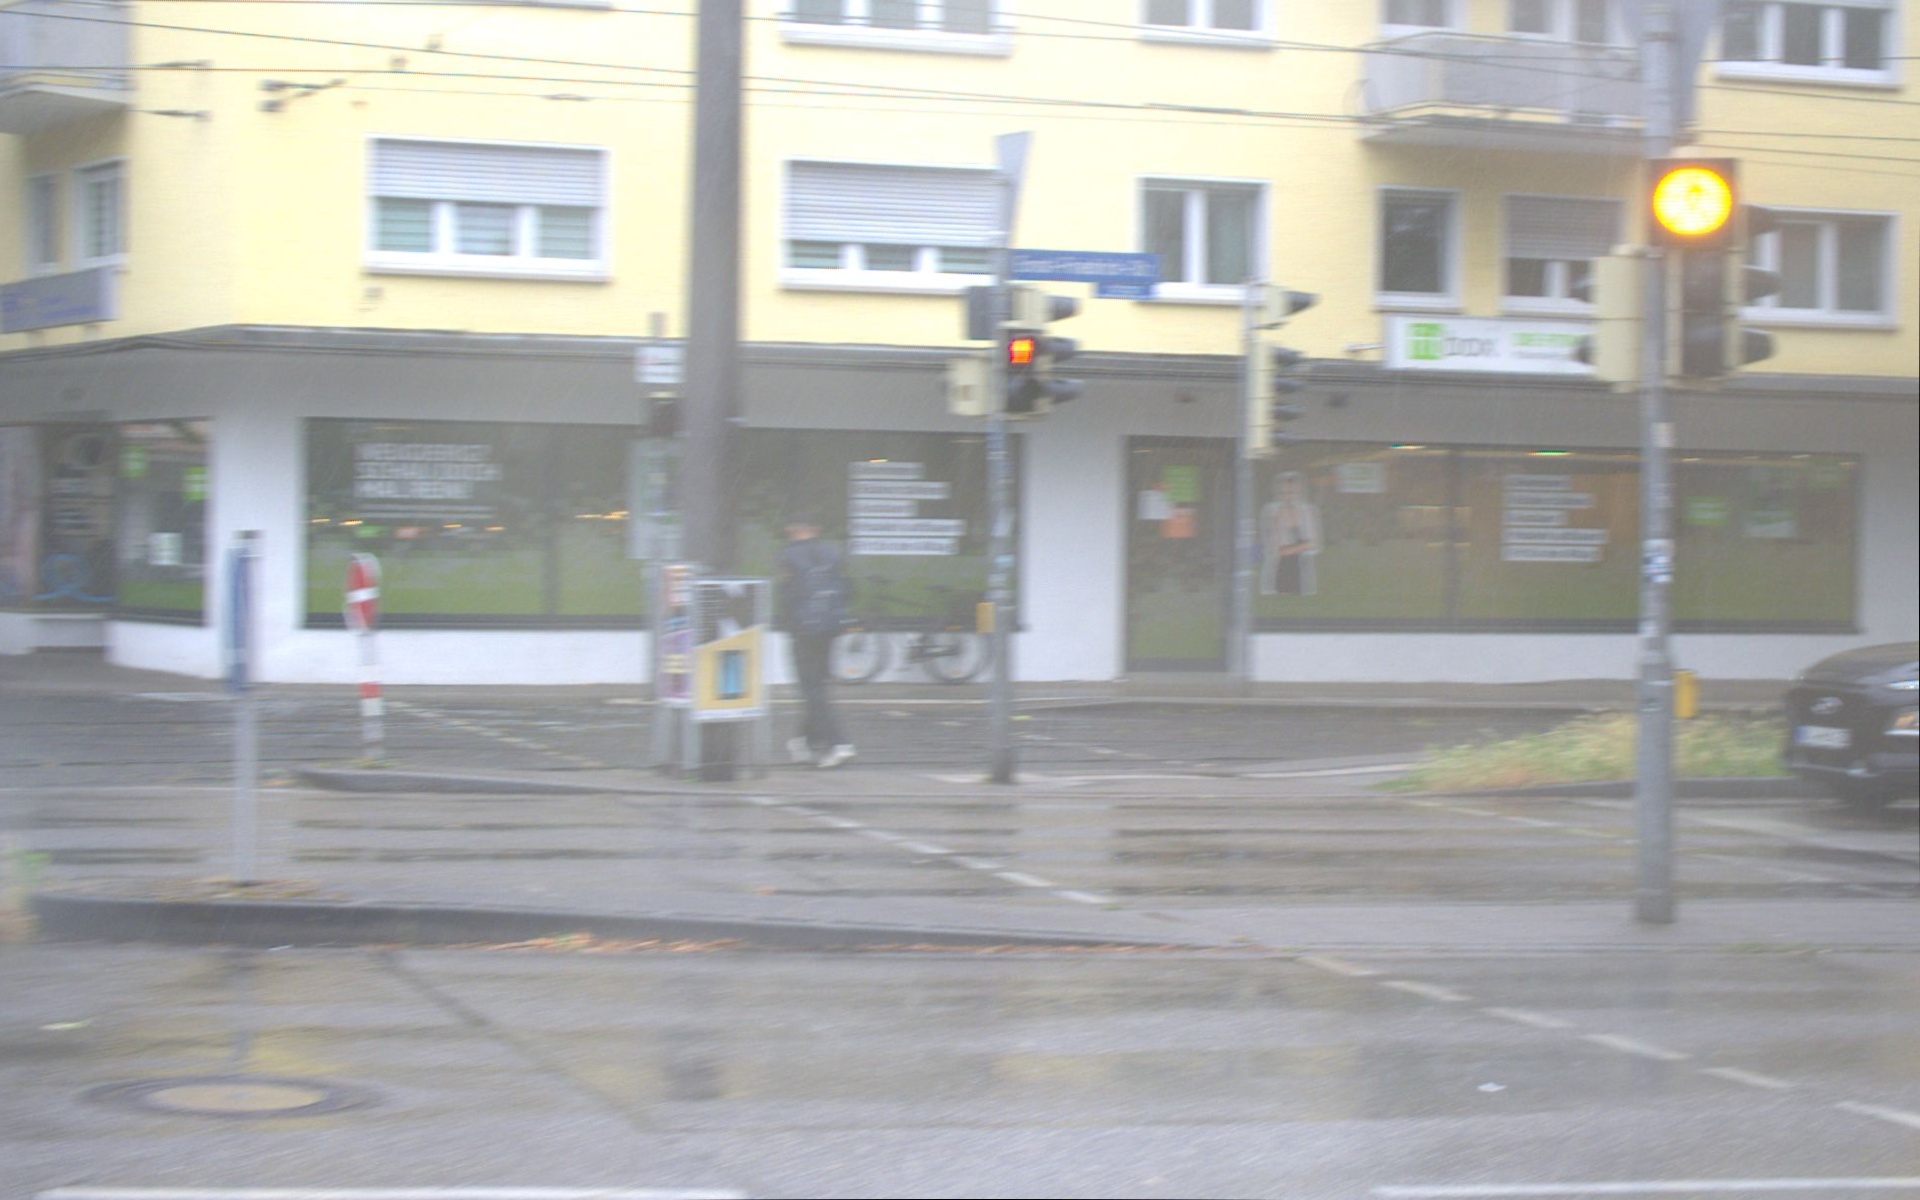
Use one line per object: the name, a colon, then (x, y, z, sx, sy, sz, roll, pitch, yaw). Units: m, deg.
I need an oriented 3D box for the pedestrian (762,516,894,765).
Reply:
pedestrian: (-0.918, 0.266, 23.723, 0.812, 1.671, 1.017, 1, 1, -6)

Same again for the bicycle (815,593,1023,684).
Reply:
bicycle: (-0.422, 0.397, 35.397, 2.039, 0.894, 0.614, 1, 1, -18)

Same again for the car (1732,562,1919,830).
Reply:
car: (7.121, 0.554, 21.232, 4.269, 1.496, 1.880, 0, 1, -23)
